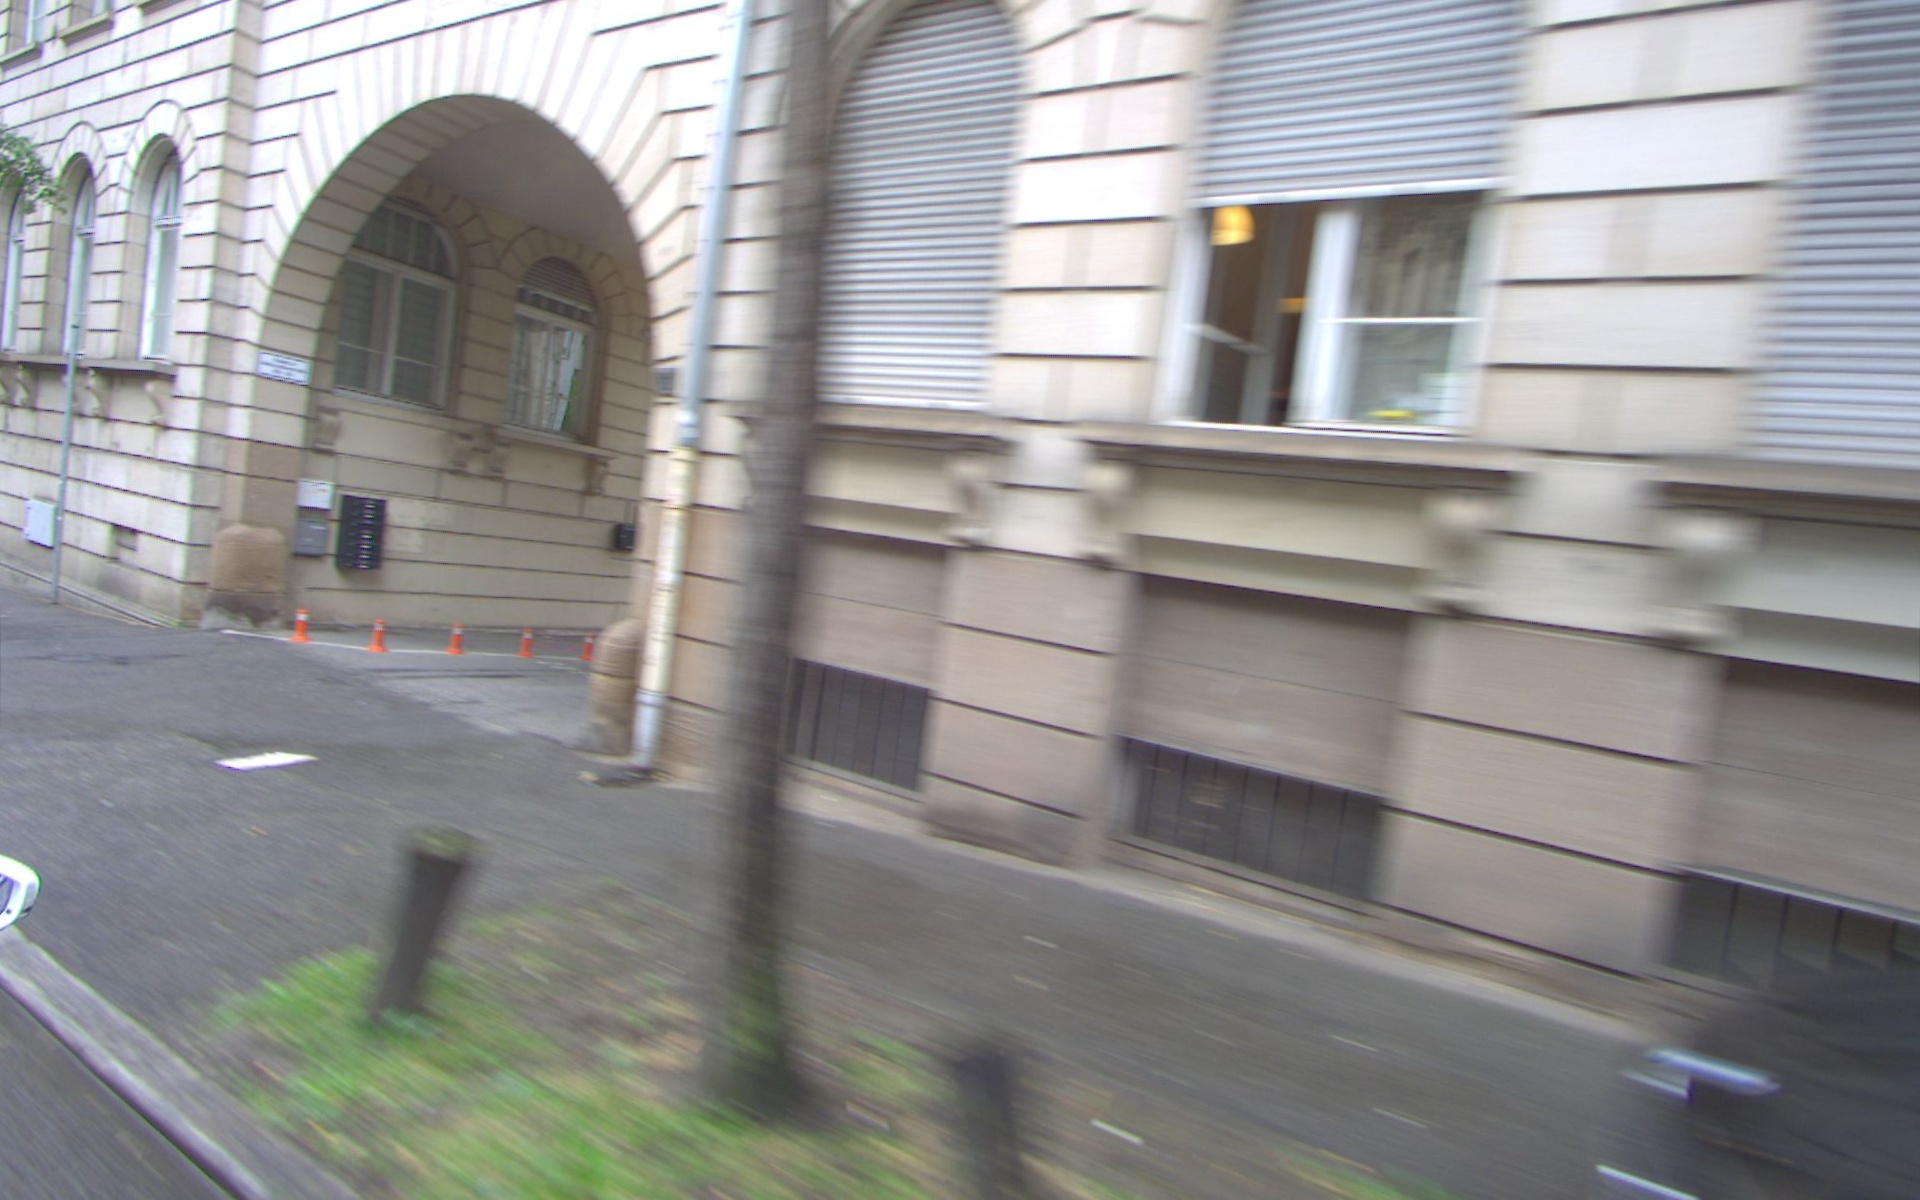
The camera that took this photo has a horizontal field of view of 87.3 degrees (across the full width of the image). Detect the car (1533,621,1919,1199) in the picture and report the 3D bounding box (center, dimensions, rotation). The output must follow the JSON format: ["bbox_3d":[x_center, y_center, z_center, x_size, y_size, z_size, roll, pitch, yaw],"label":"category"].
[{"bbox_3d":[3.064,1.018,0.568,4.644,1.481,1.757,7,4,31],"label":"car"}]
